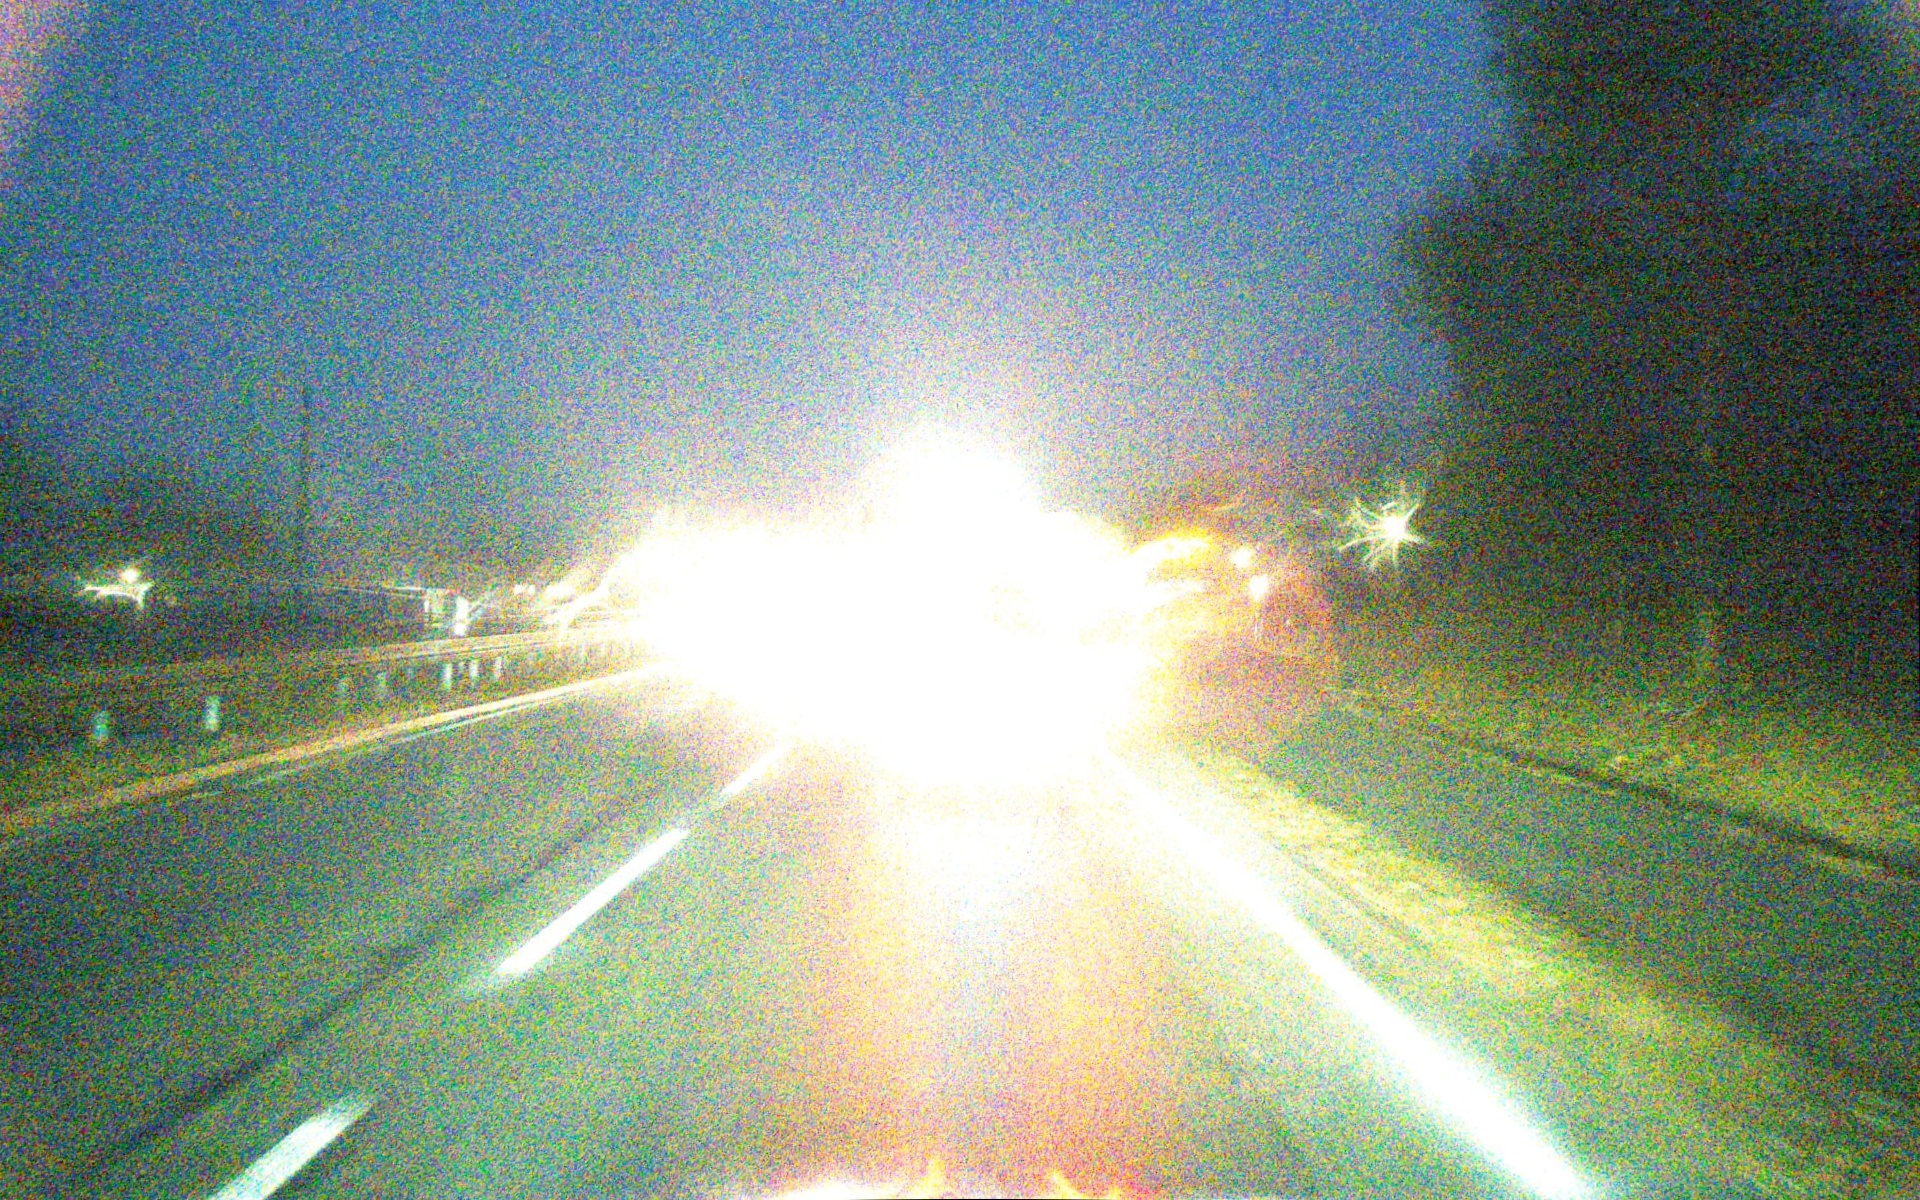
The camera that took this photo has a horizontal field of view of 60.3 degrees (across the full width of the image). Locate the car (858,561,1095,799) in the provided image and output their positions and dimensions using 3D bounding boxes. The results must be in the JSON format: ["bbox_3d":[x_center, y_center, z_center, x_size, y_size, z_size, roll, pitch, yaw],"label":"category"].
[{"bbox_3d":[0.113,0.605,14.218,1.739,1.742,3.999,1,0,0],"label":"car"}]
